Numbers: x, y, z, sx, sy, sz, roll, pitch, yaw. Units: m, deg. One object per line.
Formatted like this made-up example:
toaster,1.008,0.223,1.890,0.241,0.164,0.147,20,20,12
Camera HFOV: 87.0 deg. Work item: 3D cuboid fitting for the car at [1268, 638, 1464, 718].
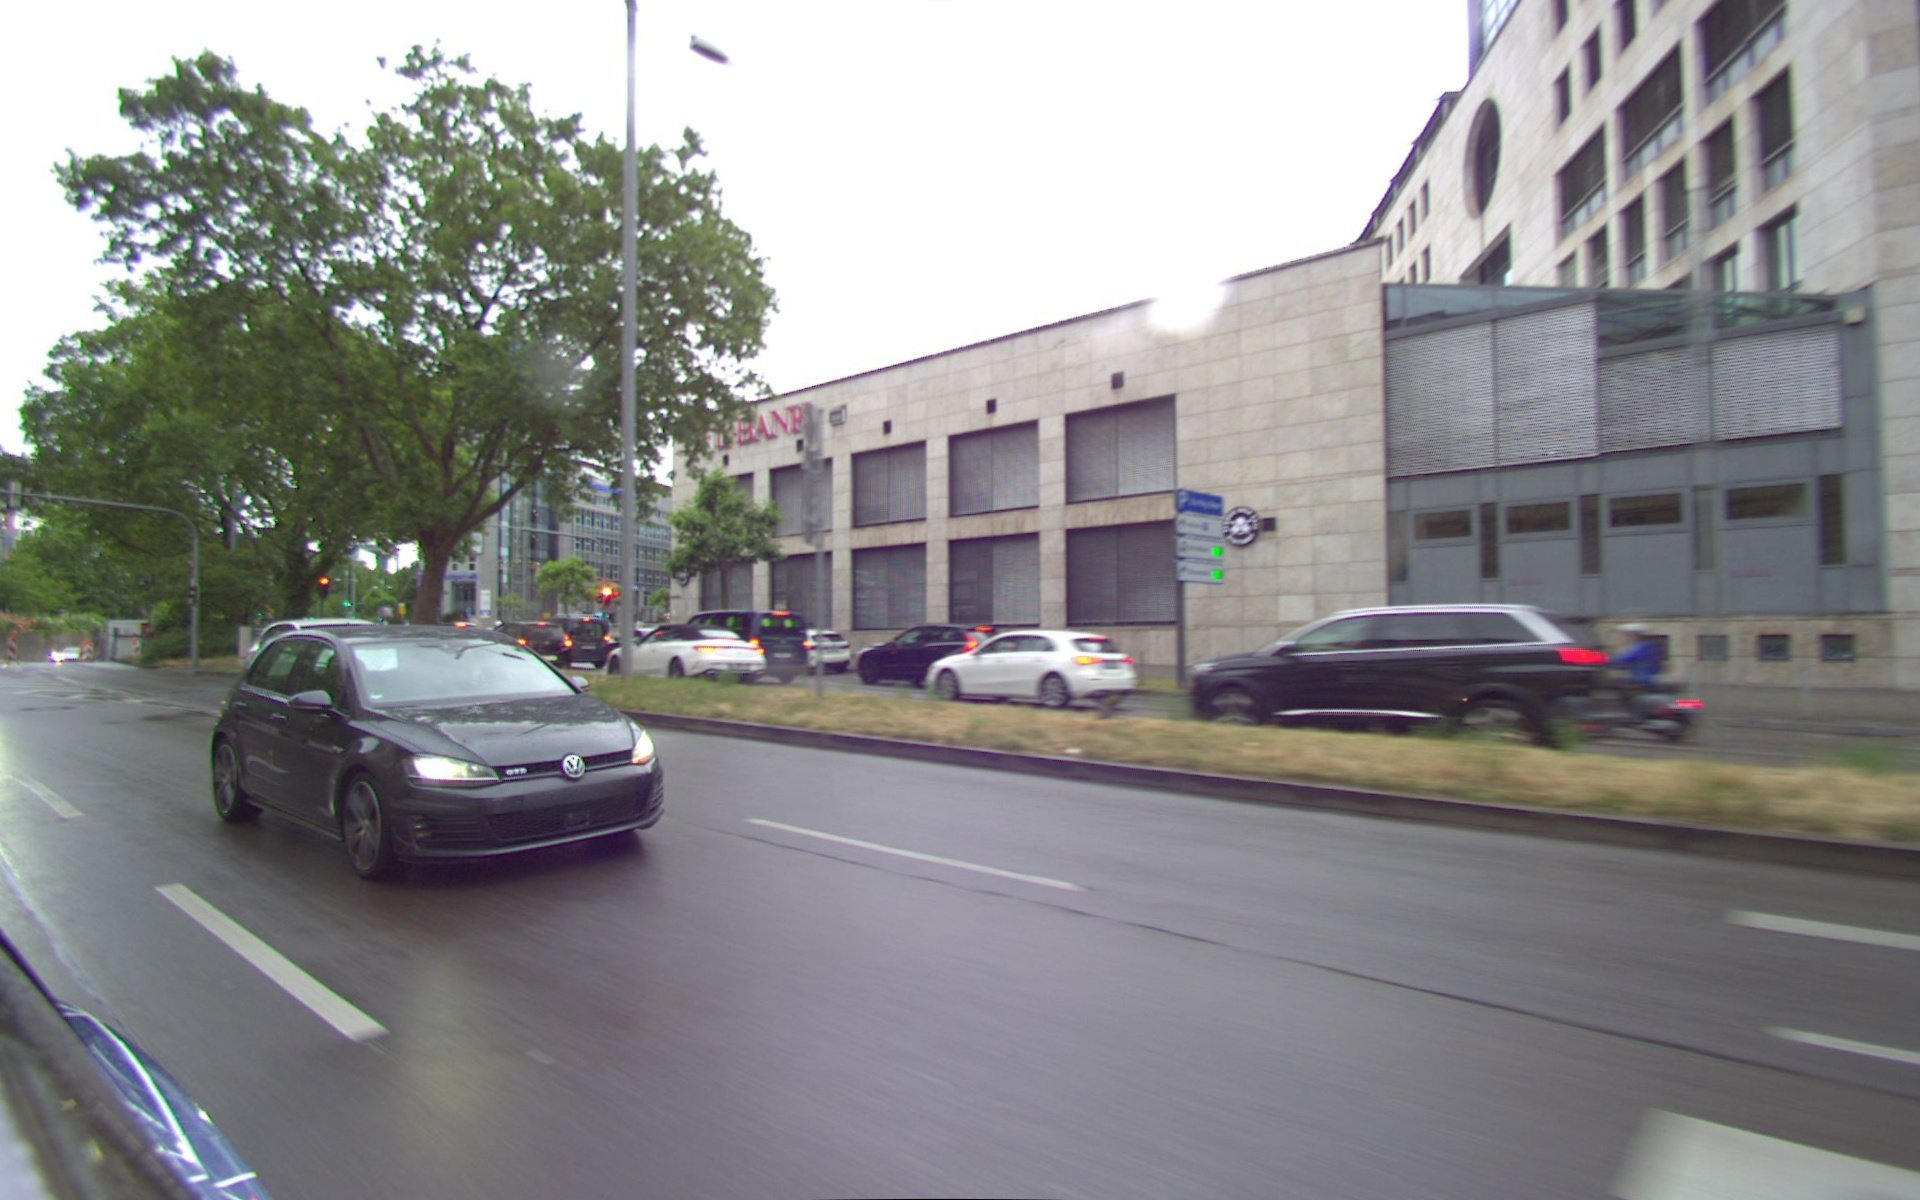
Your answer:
car,8.246,1.525,20.719,1.573,1.426,3.403,2,-2,-44

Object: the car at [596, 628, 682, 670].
car,-11.989,1.784,37.732,1.731,1.475,3.487,2,-2,-43

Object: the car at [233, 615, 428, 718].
car,-11.176,1.077,17.872,3.997,1.608,1.758,0,-2,40

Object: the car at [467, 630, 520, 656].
car,-27.159,2.471,58.854,1.818,1.392,4.049,2,-2,-39

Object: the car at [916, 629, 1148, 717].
car,1.279,1.310,19.441,4.397,1.443,1.707,-1,-2,45

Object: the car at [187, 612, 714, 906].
car,-3.708,0.845,7.053,4.118,1.463,1.767,-1,-2,39

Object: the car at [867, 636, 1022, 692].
car,-0.532,1.788,29.385,1.727,1.426,4.709,2,-2,-44

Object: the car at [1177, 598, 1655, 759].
car,4.868,0.748,11.309,4.583,1.448,1.681,-1,-2,44

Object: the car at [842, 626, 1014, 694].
car,-0.908,1.483,26.102,4.642,1.544,1.707,-1,-2,45

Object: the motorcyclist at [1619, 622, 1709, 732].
motorcyclist,10.232,1.098,14.722,0.973,1.541,0.514,-2,-3,42

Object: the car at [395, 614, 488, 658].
car,-17.703,1.195,34.466,1.726,1.375,4.135,2,-2,-43

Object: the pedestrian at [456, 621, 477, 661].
pedestrian,-20.044,1.660,41.118,0.635,1.626,0.446,-1,-2,11

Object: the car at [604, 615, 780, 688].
car,-6.049,1.093,22.583,4.315,1.453,1.839,-1,-2,45

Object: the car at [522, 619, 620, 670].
car,-13.721,1.521,35.568,1.809,1.652,4.096,2,-2,-43

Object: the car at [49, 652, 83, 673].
car,-66.334,4.596,75.128,1.690,1.452,3.501,1,-3,-38

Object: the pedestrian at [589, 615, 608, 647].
pedestrian,-22.195,1.898,62.137,1.125,1.939,0.582,-2,-1,41

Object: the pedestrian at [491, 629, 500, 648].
pedestrian,-41.147,3.433,89.680,0.570,1.639,0.564,0,-2,-10

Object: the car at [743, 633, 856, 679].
car,-5.548,1.868,34.632,1.726,1.426,4.297,2,-2,-43

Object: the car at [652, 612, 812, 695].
car,-6.213,1.349,27.142,1.809,2.017,5.108,2,-2,-44

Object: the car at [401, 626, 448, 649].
car,-38.141,2.620,72.026,1.982,1.545,4.718,2,-2,-41

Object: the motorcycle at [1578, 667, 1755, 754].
motorcycle,10.228,1.572,14.724,2.032,1.139,0.543,-2,-3,43

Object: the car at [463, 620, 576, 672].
car,-12.742,1.294,29.169,1.726,1.375,3.947,2,-2,-43
